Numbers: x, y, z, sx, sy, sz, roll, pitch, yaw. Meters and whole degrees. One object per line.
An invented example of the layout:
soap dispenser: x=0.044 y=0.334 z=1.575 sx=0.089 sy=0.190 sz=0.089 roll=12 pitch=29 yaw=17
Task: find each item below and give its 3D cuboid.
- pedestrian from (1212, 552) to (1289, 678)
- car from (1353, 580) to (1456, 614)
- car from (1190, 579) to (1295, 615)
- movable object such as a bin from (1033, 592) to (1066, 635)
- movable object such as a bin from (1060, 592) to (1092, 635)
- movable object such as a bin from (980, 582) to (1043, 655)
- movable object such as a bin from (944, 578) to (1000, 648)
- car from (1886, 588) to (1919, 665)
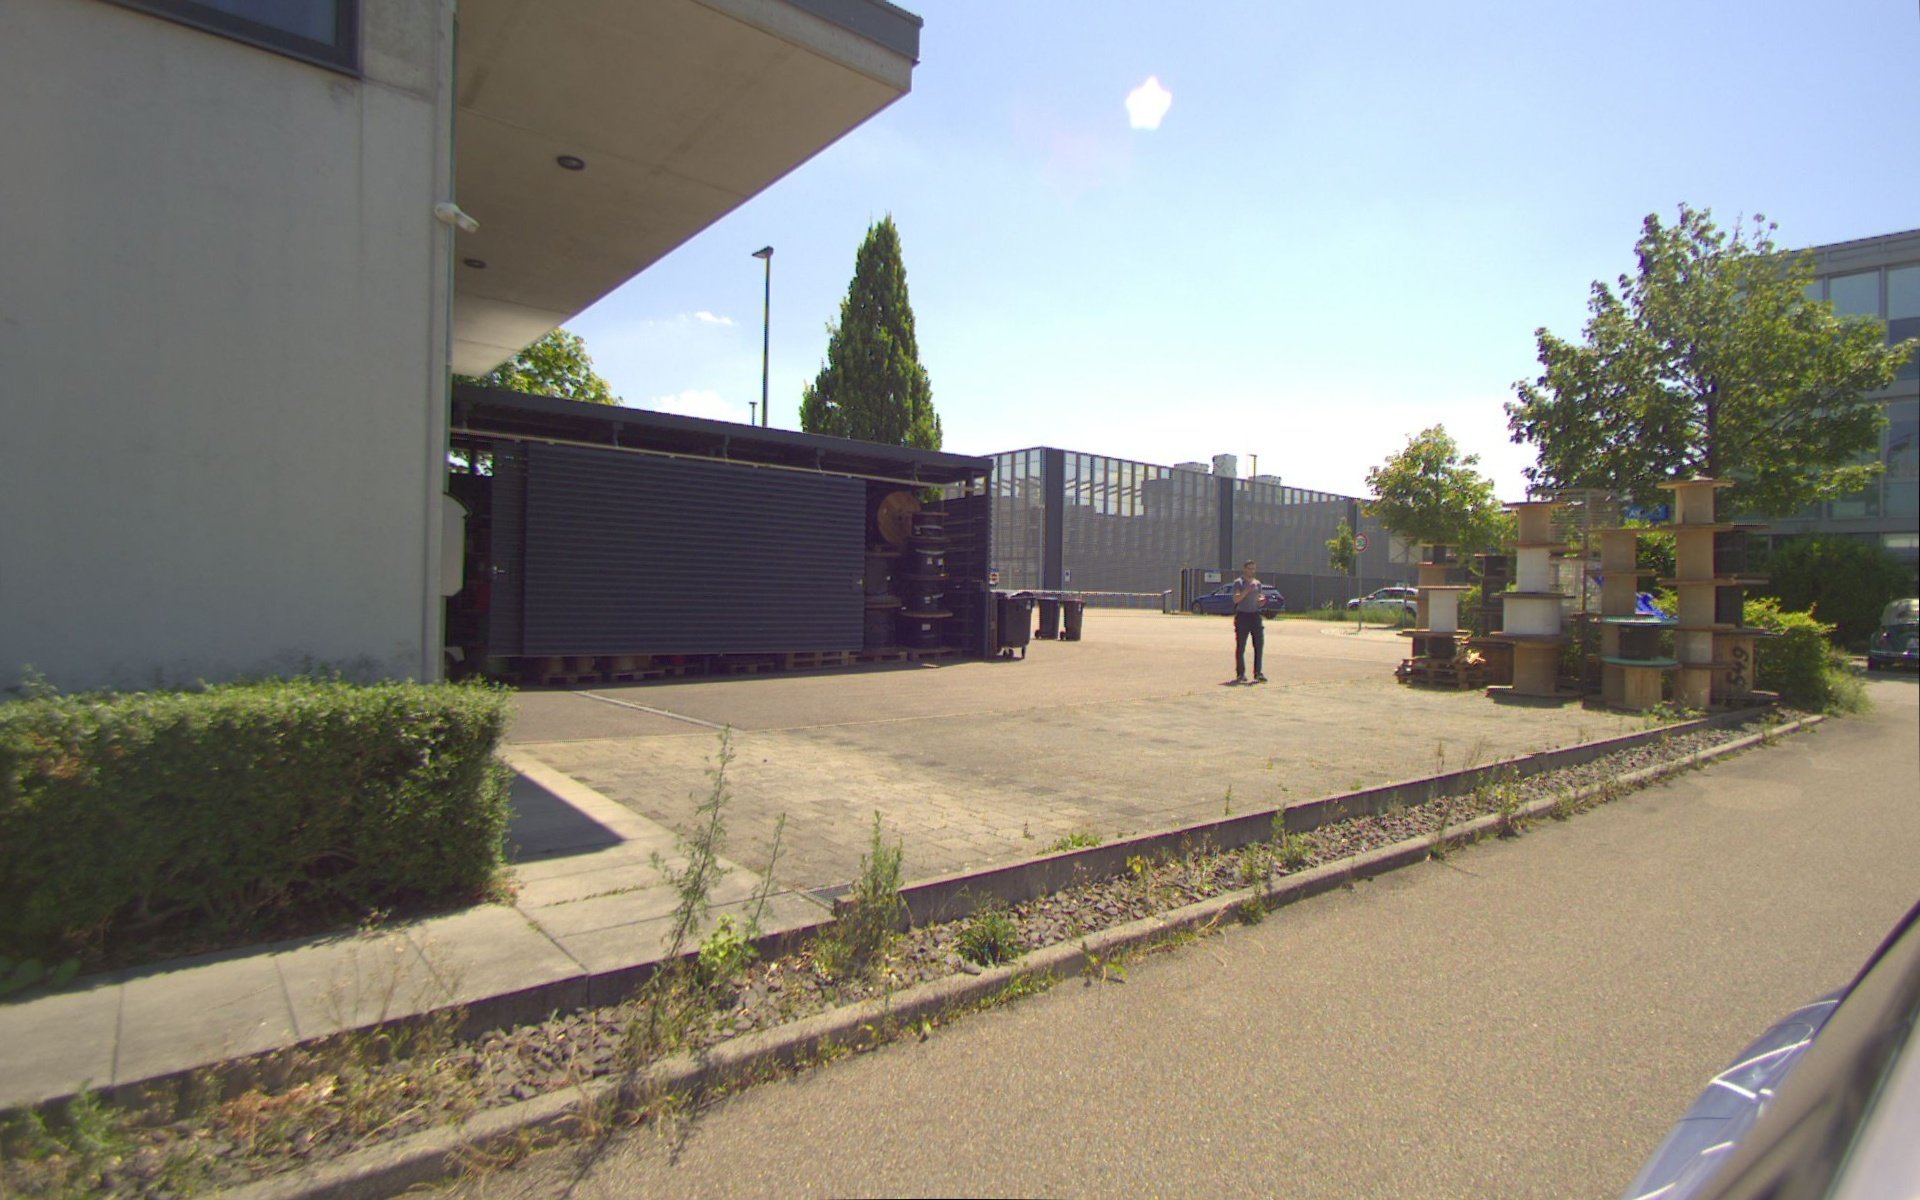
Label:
pedestrian: x=4.252 y=0.205 z=14.864 sx=0.792 sy=1.790 sz=0.770 roll=1 pitch=1 yaw=-9
car: x=20.849 y=-0.163 z=47.643 sx=1.743 sy=1.494 sz=4.424 roll=1 pitch=1 yaw=-24
car: x=12.084 y=-0.167 z=43.514 sx=1.821 sy=1.427 sz=4.454 roll=1 pitch=1 yaw=-26
movable object such as a bin: x=2.047 y=0.302 z=23.103 sx=0.580 sy=0.929 sz=0.543 roll=1 pitch=2 yaw=26
movable object such as a bin: x=2.617 y=0.306 z=22.802 sx=0.580 sy=0.929 sz=0.543 roll=1 pitch=2 yaw=26
movable object such as a bin: x=0.928 y=0.317 z=18.432 sx=0.786 sy=1.265 sz=0.877 roll=0 pitch=2 yaw=-31
movable object such as a bin: x=0.229 y=0.234 z=19.509 sx=0.786 sy=1.314 sz=0.757 roll=0 pitch=2 yaw=-31
car: x=20.121 y=0.523 z=20.665 sx=3.362 sy=1.463 sz=1.520 roll=-1 pitch=3 yaw=-43
